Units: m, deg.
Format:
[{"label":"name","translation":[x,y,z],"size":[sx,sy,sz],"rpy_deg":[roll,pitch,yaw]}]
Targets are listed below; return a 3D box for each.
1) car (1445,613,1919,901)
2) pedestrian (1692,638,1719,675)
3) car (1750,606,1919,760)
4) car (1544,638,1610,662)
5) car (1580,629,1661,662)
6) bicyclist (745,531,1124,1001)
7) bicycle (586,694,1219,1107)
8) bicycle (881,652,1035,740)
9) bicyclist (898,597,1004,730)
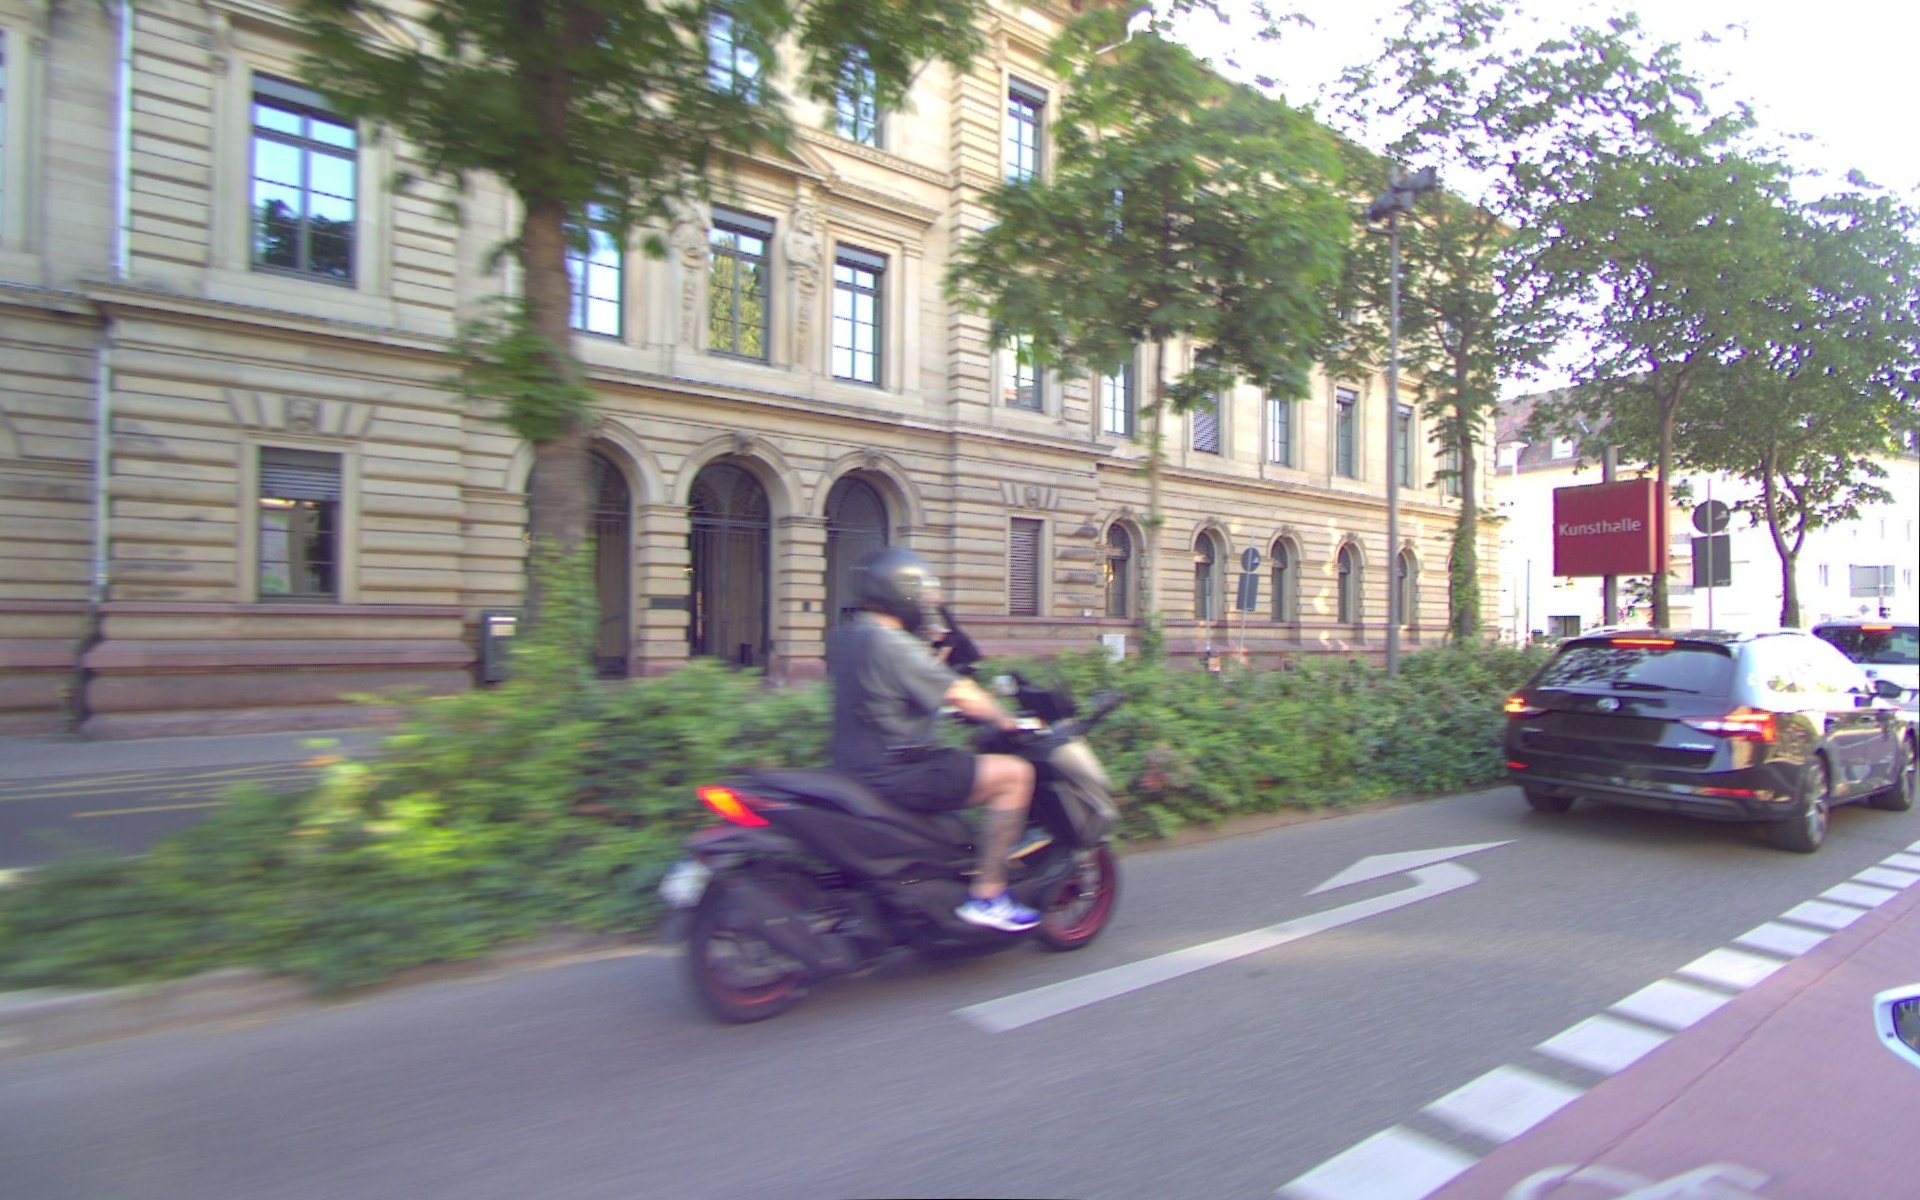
[{"label":"car","translation":[6.042,0.996,8.117],"size":[4.694,1.679,1.979],"rpy_deg":[2,-2,-38]},{"label":"pedestrian","translation":[33.331,2.503,44.908],"size":[0.808,1.605,0.629],"rpy_deg":[1,1,-28]},{"label":"car","translation":[12.612,1.024,13.429],"size":[4.701,1.772,1.978],"rpy_deg":[1,-2,-36]},{"label":"car","translation":[34.520,2.768,56.164],"size":[3.956,1.327,1.597],"rpy_deg":[1,-2,-32]},{"label":"car","translation":[35.634,2.438,54.189],"size":[4.564,1.708,1.983],"rpy_deg":[1,-2,-33]},{"label":"bicyclist","translation":[-0.102,0.555,4.007],"size":[1.219,1.543,0.862],"rpy_deg":[1,0,-36]},{"label":"bicycle","translation":[-0.115,0.977,3.998],"size":[2.430,1.056,0.864],"rpy_deg":[2,-1,-36]},{"label":"bicycle","translation":[-0.010,1.385,14.801],"size":[2.154,1.209,0.875],"rpy_deg":[2,-5,-36]},{"label":"bicyclist","translation":[-0.136,0.930,14.749],"size":[1.273,1.858,0.875],"rpy_deg":[2,-5,-35]}]
